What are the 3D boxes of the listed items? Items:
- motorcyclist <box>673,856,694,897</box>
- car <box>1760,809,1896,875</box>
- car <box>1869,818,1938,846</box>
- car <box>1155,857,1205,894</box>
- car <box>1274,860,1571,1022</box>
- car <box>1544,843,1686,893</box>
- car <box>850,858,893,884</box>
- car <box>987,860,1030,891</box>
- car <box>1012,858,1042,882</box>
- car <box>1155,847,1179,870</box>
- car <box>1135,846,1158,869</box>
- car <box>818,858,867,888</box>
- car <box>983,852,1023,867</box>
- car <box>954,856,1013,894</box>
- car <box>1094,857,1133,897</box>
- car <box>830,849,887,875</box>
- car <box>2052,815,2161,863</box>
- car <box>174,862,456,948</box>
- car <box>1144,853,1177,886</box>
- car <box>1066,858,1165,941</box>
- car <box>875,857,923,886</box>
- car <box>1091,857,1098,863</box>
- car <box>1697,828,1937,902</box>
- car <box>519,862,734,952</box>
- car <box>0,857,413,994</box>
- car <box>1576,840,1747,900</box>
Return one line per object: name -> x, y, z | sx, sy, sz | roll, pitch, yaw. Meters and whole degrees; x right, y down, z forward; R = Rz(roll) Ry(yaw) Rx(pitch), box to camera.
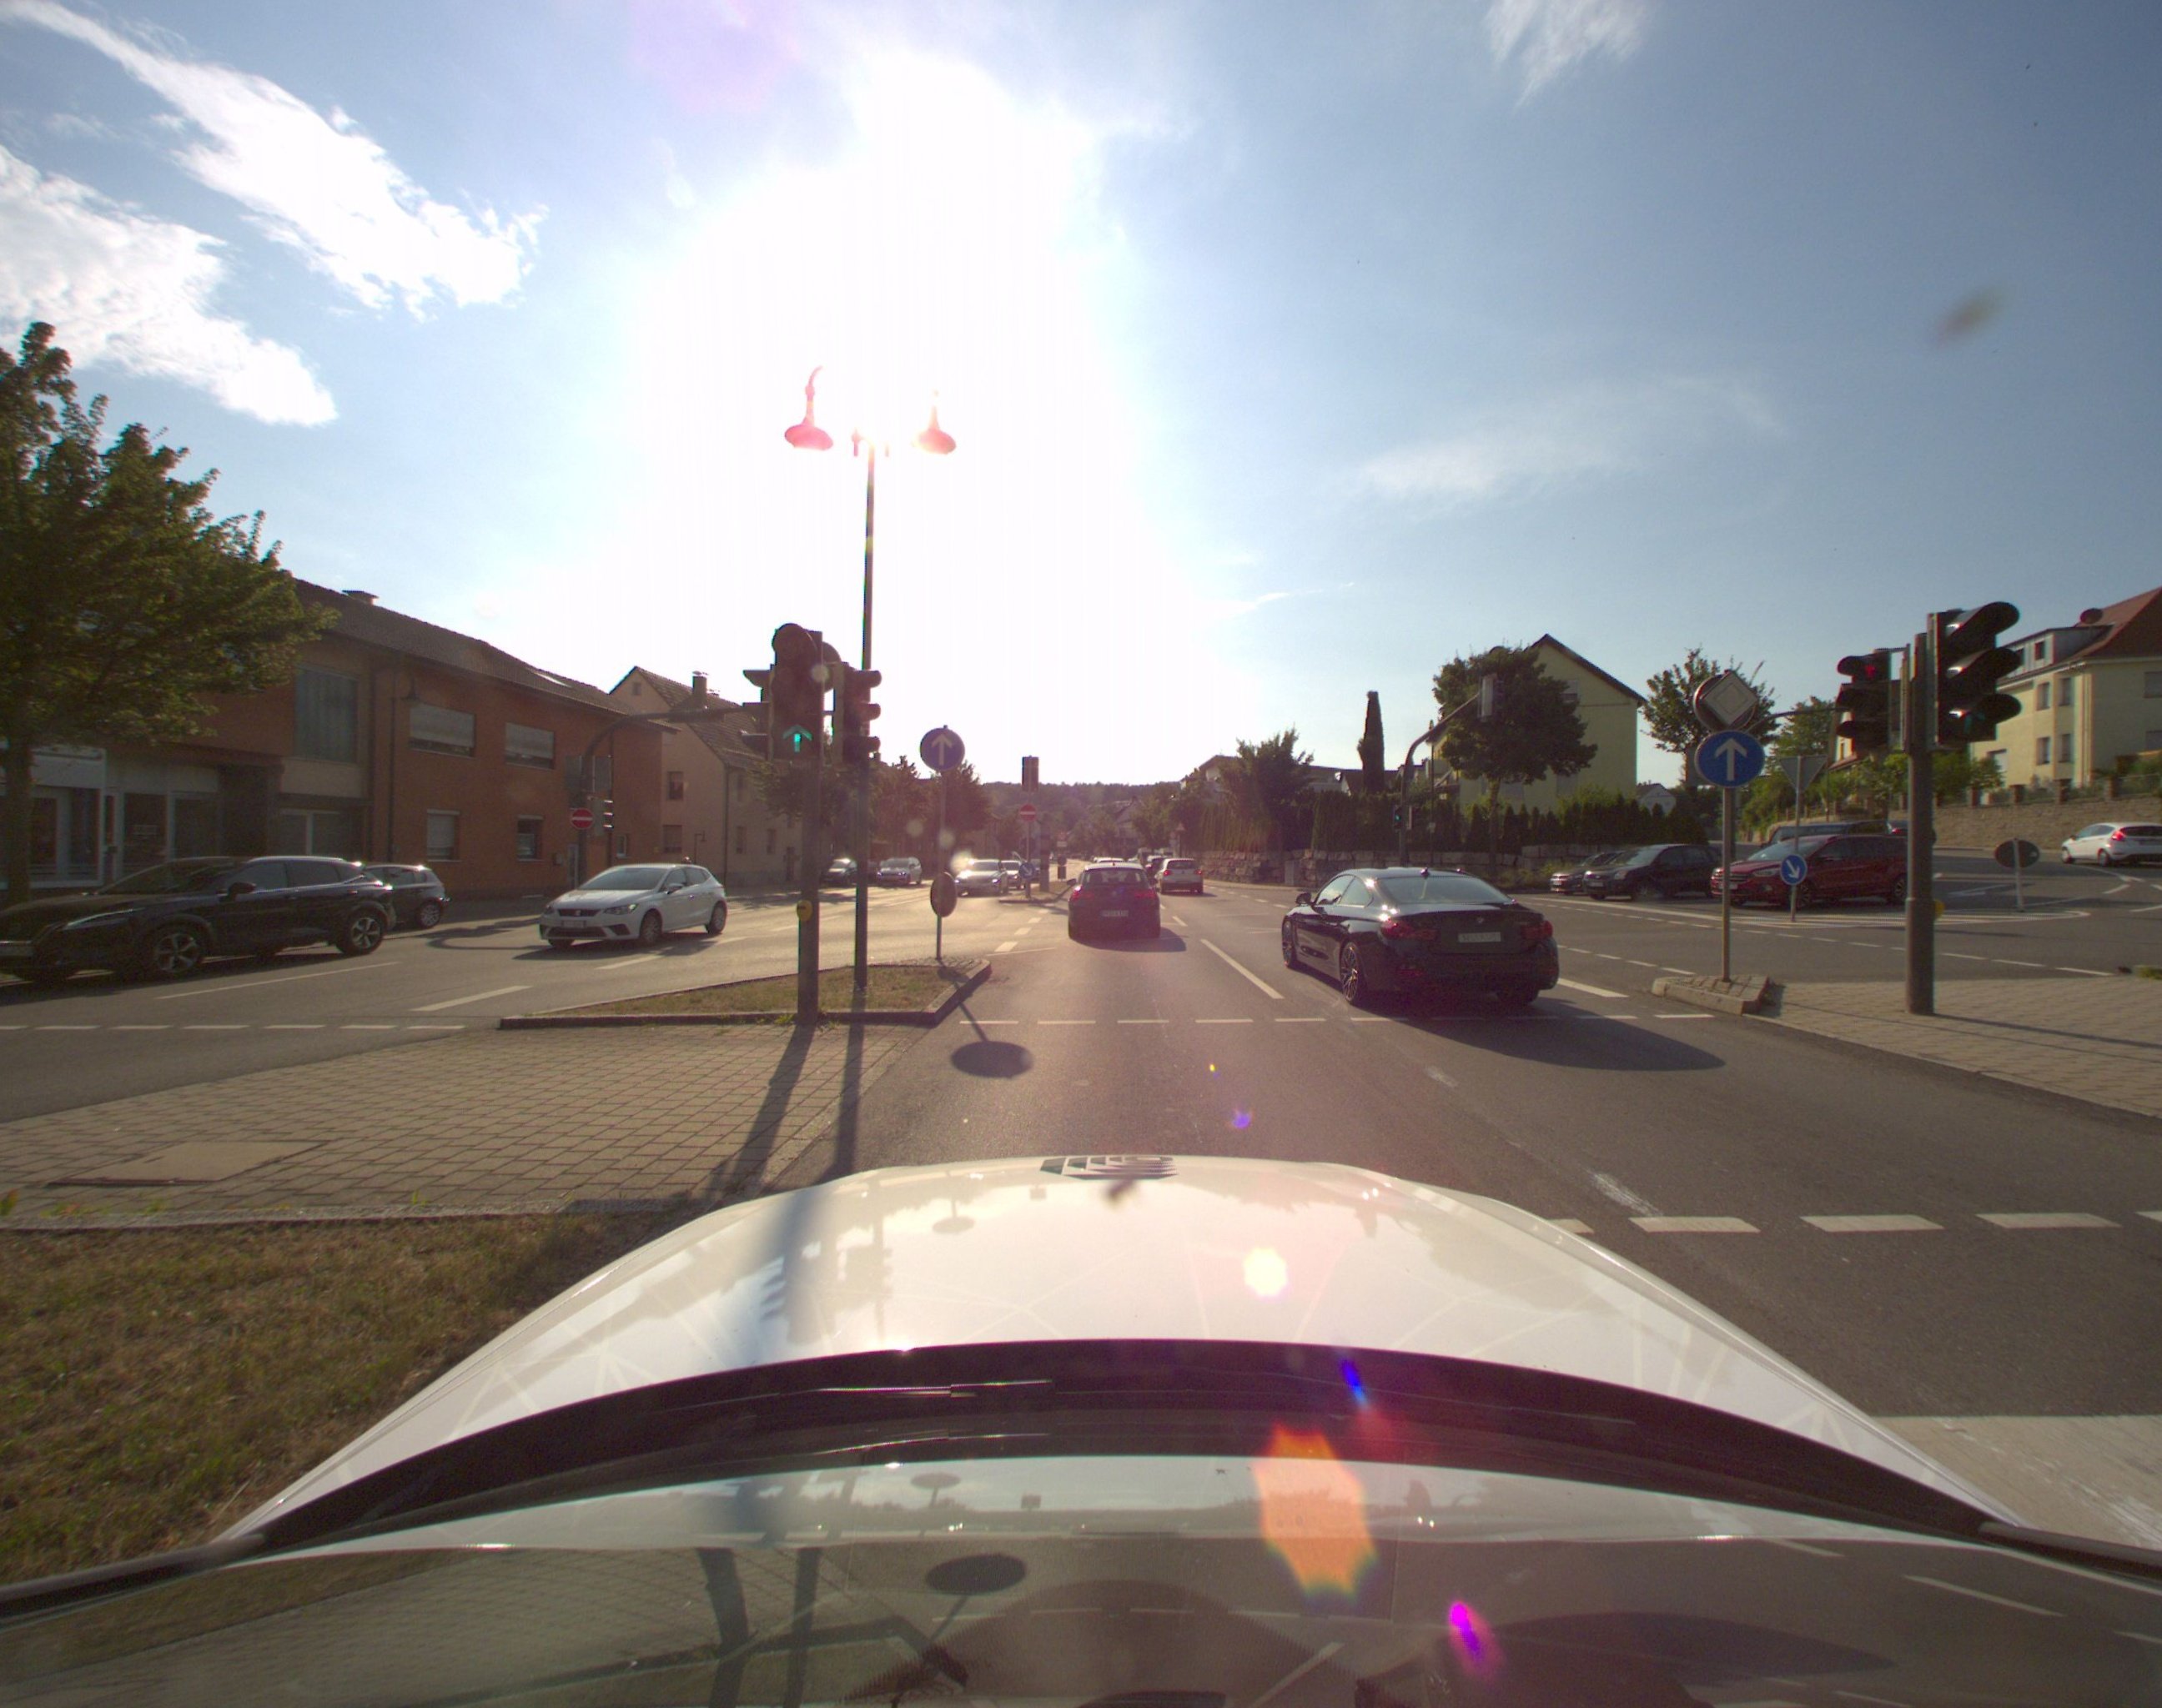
motorcyclist -> -12.065, 0.682, 24.702 | 0.402, 1.229, 0.461 | 0, 0, -1
car -> 23.799, -0.371, 25.895 | 5.198, 1.932, 1.979 | 0, 0, -33
car -> 42.159, -1.113, 41.835 | 1.794, 1.344, 4.026 | 0, 0, 35
car -> 4.076, 0.871, 34.036 | 1.747, 1.414, 3.422 | 0, 0, 1
car -> 3.547, 0.787, 9.385 | 1.694, 1.369, 4.263 | -1, 0, 1
car -> 17.398, 0.446, 26.642 | 3.590, 1.450, 1.625 | -2, -1, -3
car -> -13.256, 1.039, 51.712 | 1.613, 1.510, 4.132 | 0, 0, 0
car -> -3.516, 1.042, 40.154 | 1.582, 1.427, 3.581 | -1, -1, 4
car -> -3.440, 1.028, 52.324 | 1.526, 1.462, 3.508 | 0, 0, 2
car -> 10.735, 0.524, 101.652 | 2.106, 2.722, 6.438 | 0, 0, -2
car -> 8.135, 0.433, 101.222 | 2.144, 2.680, 6.598 | 0, 0, -2
car -> -13.131, 1.005, 45.053 | 1.507, 1.510, 3.886 | 1, 0, 1
car -> -12.540, 0.852, 131.565 | 6.139, 2.444, 2.249 | 1, 0, -1
car -> -4.057, 0.838, 34.447 | 1.828, 1.488, 4.567 | 0, 0, 1
car -> 1.347, 0.946, 34.968 | 1.586, 1.600, 3.894 | 0, 0, 1
car -> -17.334, 0.605, 63.531 | 3.805, 1.881, 1.780 | 2, -1, 3
car -> 34.652, -0.488, 27.176 | 1.844, 1.494, 4.026 | 0, 0, 34
car -> -15.062, 0.920, 16.362 | 1.788, 1.414, 3.944 | 1, 0, 3
car -> 4.443, 0.816, 45.778 | 1.597, 1.767, 3.412 | 0, 0, 2
car -> 0.663, 0.835, 16.629 | 1.765, 1.456, 3.516 | -1, 0, 1
car -> -10.594, 0.994, 47.701 | 1.680, 1.612, 4.414 | 0, 0, 1
car -> 3.346, 1.480, 197.389 | 1.592, 1.485, 3.473 | 1, 0, -1
car -> 17.336, 0.239, 19.297 | 4.231, 1.626, 1.859 | 0, 0, -5
car -> -8.308, 0.890, 15.361 | 1.751, 1.411, 4.000 | 0, 0, 1
car -> -12.590, 0.854, 11.859 | 1.847, 1.595, 4.464 | 0, 0, 3
car -> 16.179, 0.430, 22.789 | 3.781, 1.542, 1.595 | -1, 0, -6
